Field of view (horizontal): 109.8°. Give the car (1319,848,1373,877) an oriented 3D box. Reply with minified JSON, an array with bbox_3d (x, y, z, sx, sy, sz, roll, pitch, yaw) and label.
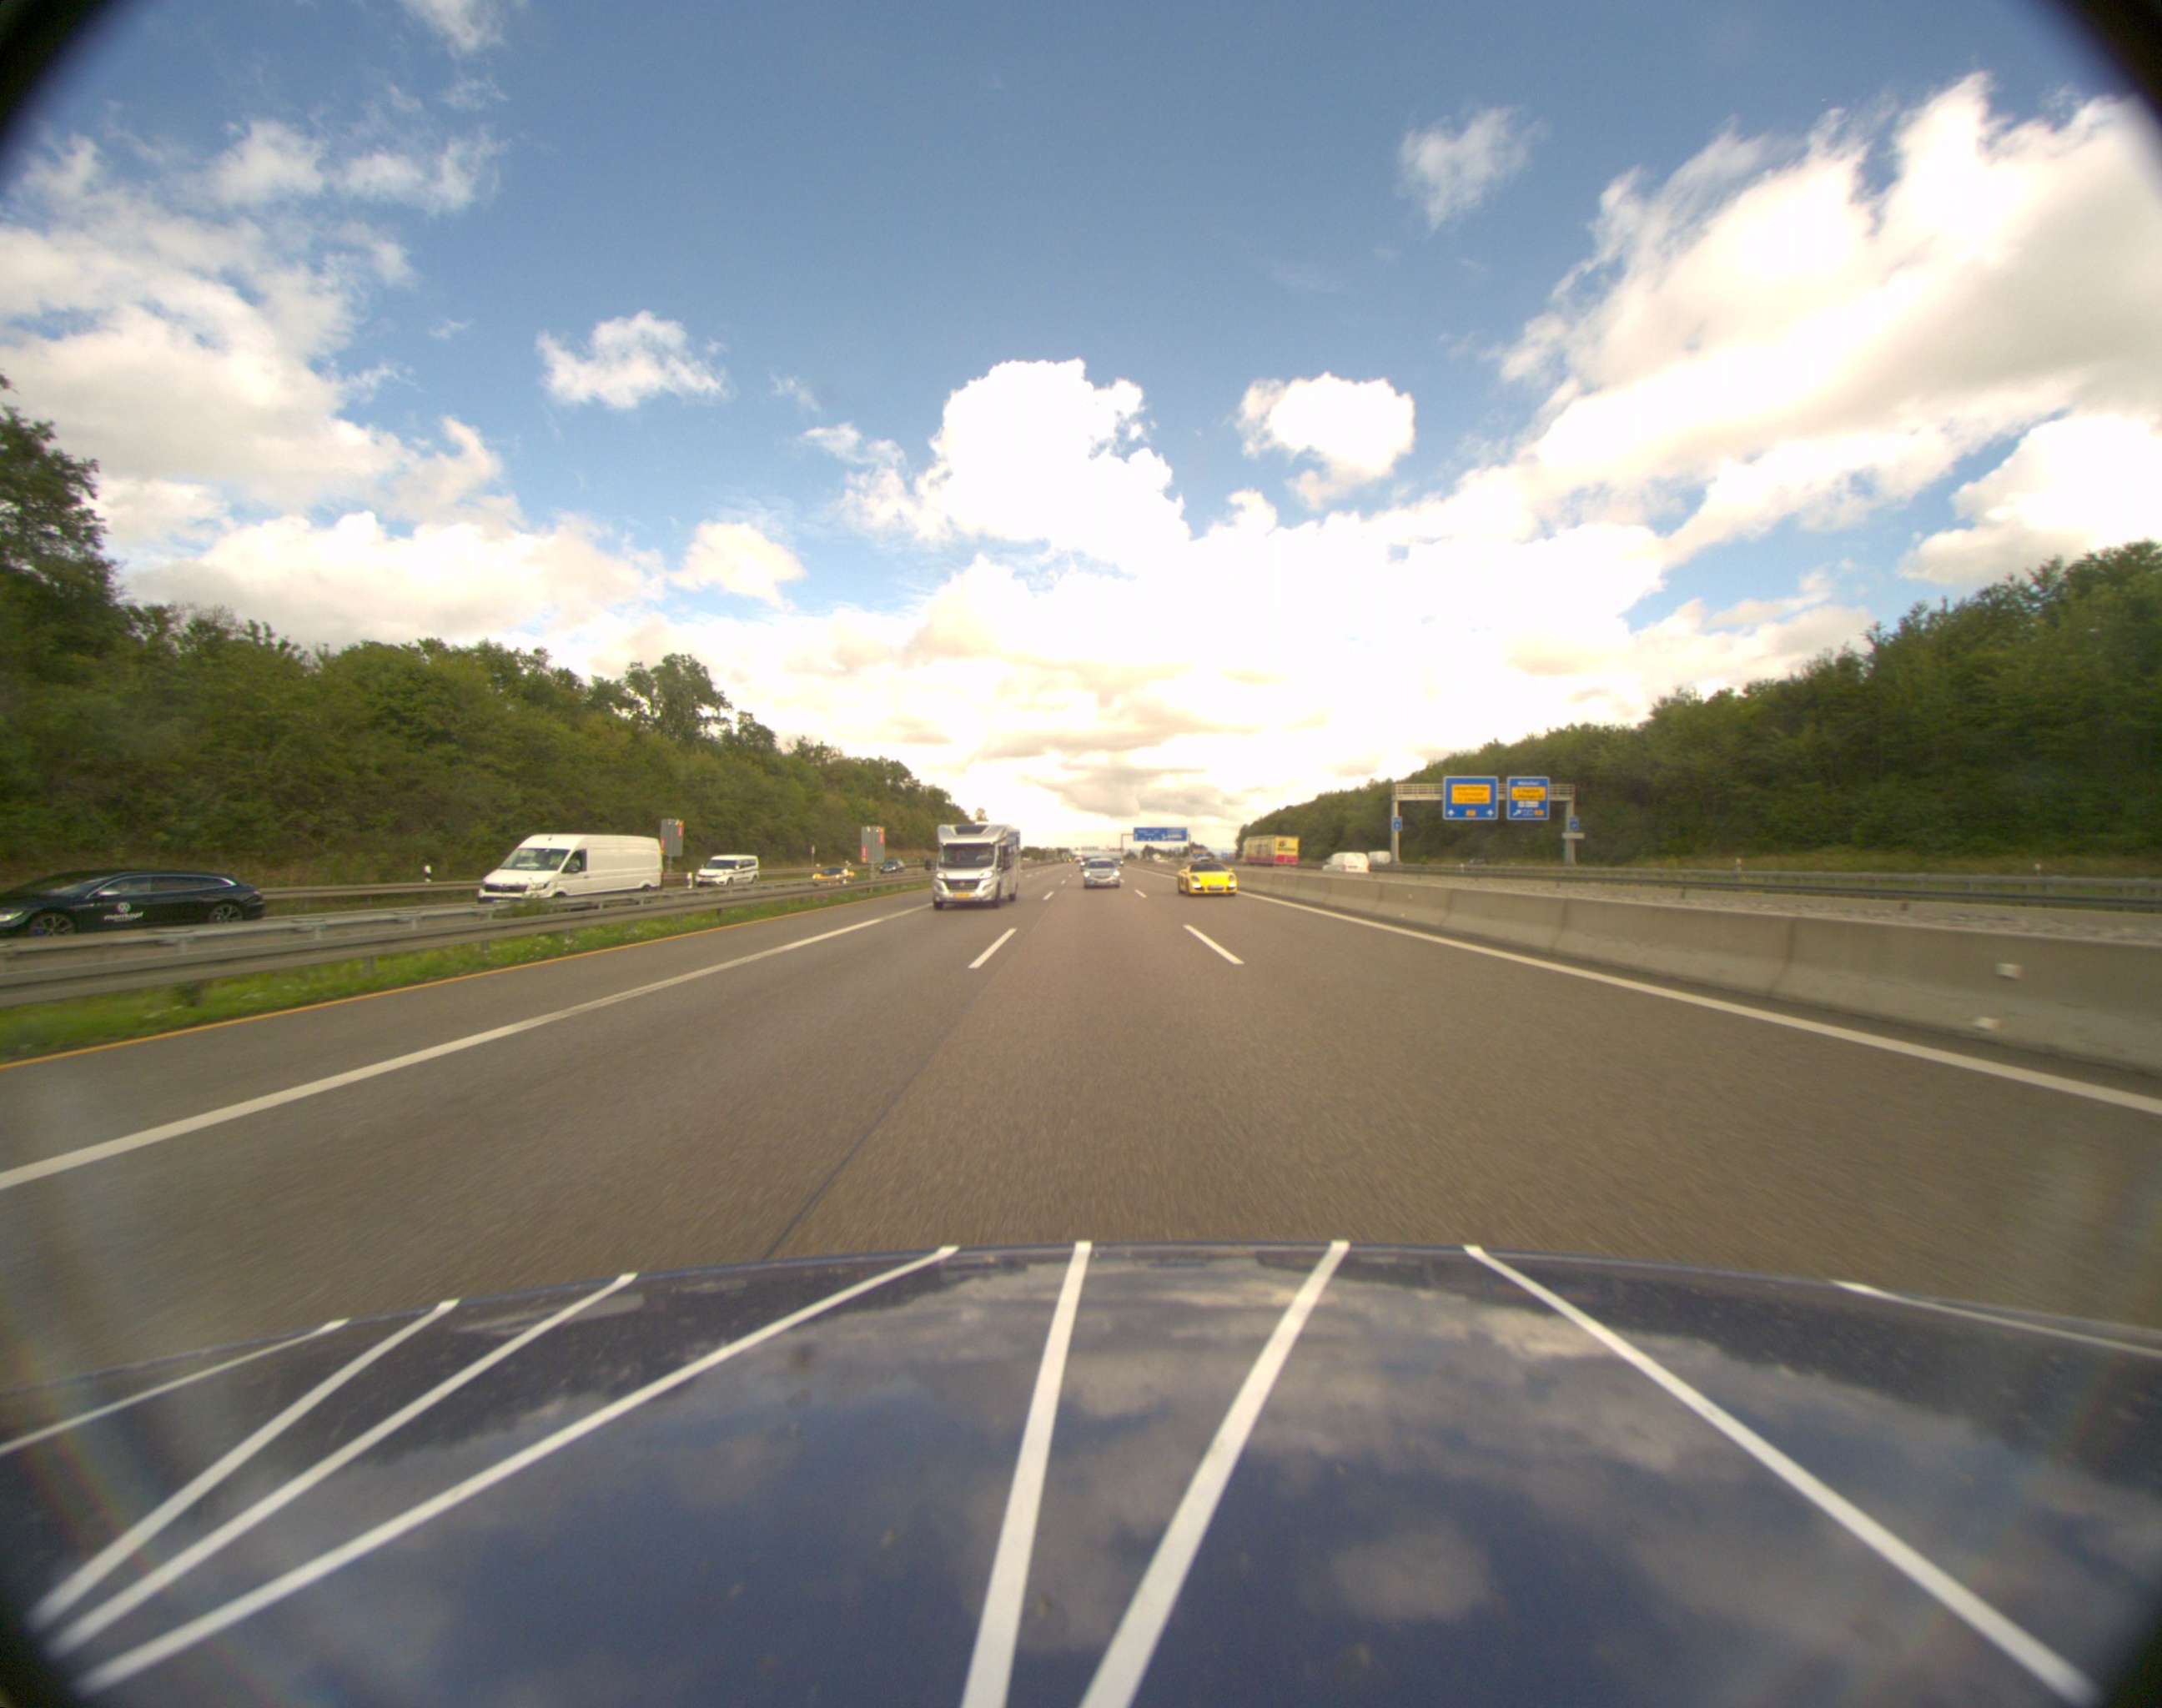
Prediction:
[{"bbox_3d":[17.184,0.492,49.595,1.738,1.784,5.124,-1,0,0],"label":"car"}]

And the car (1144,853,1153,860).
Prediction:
[{"bbox_3d":[16.238,0.618,183.457,1.776,1.601,4.465,-1,0,0],"label":"car"}]

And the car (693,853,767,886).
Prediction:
[{"bbox_3d":[-19.784,0.818,43.089,1.848,1.741,4.764,-1,0,1],"label":"car"}]

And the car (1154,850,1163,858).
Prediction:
[{"bbox_3d":[23.978,0.027,236.007,2.169,2.258,6.460,-1,0,0],"label":"car"}]

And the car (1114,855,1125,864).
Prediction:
[{"bbox_3d":[5.973,0.865,118.257,1.593,1.307,3.978,1,0,0],"label":"car"}]

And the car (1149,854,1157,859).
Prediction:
[{"bbox_3d":[19.829,0.658,210.570,1.778,1.552,4.781,0,0,0],"label":"car"}]

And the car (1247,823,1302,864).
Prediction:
[{"bbox_3d":[21.940,-1.097,87.269,2.913,4.300,14.145,0,0,1],"label":"car"}]

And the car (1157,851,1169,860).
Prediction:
[{"bbox_3d":[14.723,0.287,136.914,1.780,1.563,4.180,-2,0,1],"label":"car"}]

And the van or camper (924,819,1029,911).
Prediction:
[{"bbox_3d":[-3.402,0.316,26.787,2.475,2.706,7.661,-2,0,1],"label":"van or camper"}]

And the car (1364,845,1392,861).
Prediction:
[{"bbox_3d":[42.733,-0.100,109.523,1.998,2.221,5.891,0,0,2],"label":"car"}]

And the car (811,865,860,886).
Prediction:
[{"bbox_3d":[-15.647,1.373,48.659,1.716,1.175,4.169,-1,0,0],"label":"car"}]

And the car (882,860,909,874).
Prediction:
[{"bbox_3d":[-19.206,1.350,78.893,1.716,1.407,4.169,-1,0,1],"label":"car"}]

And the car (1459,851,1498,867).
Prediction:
[{"bbox_3d":[42.291,0.488,80.972,1.851,1.652,4.419,0,0,1],"label":"car"}]

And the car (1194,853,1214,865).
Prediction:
[{"bbox_3d":[14.419,0.567,89.119,1.670,1.393,4.534,0,0,1],"label":"car"}]

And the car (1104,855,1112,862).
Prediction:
[{"bbox_3d":[7.120,1.180,202.024,1.998,2.002,4.589,0,0,1],"label":"car"}]

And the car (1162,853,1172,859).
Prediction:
[{"bbox_3d":[19.469,0.377,171.896,1.775,1.287,4.675,-1,0,0],"label":"car"}]

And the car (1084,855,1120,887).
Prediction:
[{"bbox_3d":[1.010,0.800,38.699,1.687,1.476,4.616,-1,0,0],"label":"car"}]

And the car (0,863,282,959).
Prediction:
[{"bbox_3d":[-19.888,1.027,15.634,1.848,1.593,4.764,1,0,0],"label":"car"}]

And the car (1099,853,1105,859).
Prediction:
[{"bbox_3d":[6.730,0.761,244.502,1.998,1.846,4.286,-1,1,1],"label":"car"}]

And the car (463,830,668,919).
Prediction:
[{"bbox_3d":[-16.531,0.591,25.029,2.075,2.539,6.743,0,0,1],"label":"car"}]

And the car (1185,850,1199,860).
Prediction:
[{"bbox_3d":[18.628,0.098,127.706,1.598,1.601,4.463,-1,0,0],"label":"car"}]

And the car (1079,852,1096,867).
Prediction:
[{"bbox_3d":[0.738,0.585,88.200,1.876,1.626,4.859,-1,0,1],"label":"car"}]

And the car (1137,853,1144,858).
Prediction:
[{"bbox_3d":[19.863,0.551,253.969,1.741,1.502,4.051,-1,0,0],"label":"car"}]

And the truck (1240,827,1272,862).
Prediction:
[{"bbox_3d":[22.040,-1.155,95.848,2.903,4.298,5.161,0,0,1],"label":"truck"}]

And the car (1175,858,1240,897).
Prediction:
[{"bbox_3d":[4.775,0.848,29.218,1.811,1.307,4.247,1,0,0],"label":"car"}]
